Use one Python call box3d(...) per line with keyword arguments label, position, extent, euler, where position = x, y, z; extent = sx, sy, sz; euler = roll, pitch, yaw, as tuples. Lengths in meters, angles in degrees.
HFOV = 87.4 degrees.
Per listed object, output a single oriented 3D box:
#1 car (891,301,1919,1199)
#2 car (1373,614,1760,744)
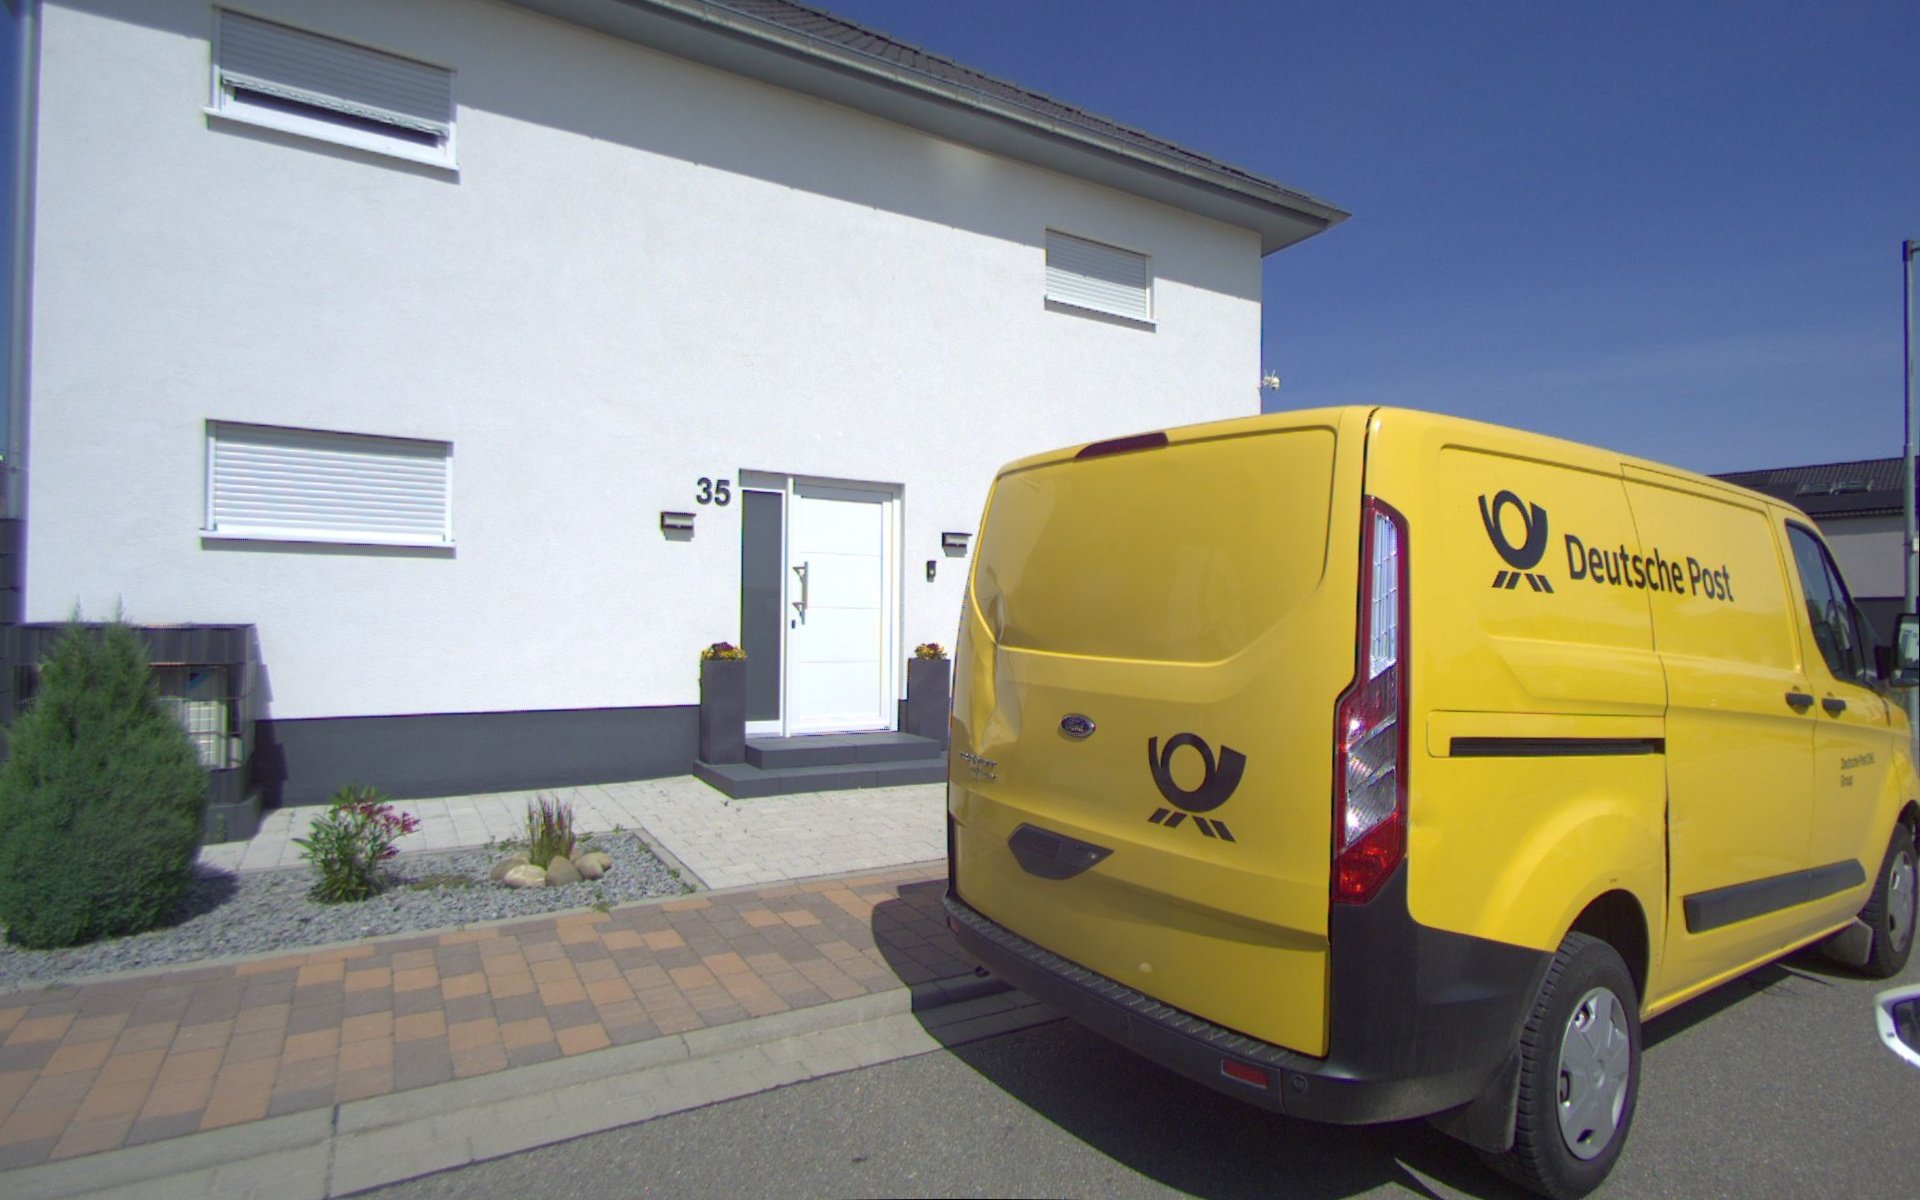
box3d(label="car", position=(2.261, 0.504, 4.092), extent=(4.793, 2.040, 1.871), euler=(2, -1, -35))
box3d(label="car", position=(8.320, 0.976, 14.092), extent=(1.737, 1.471, 4.350), euler=(2, -1, -43))
